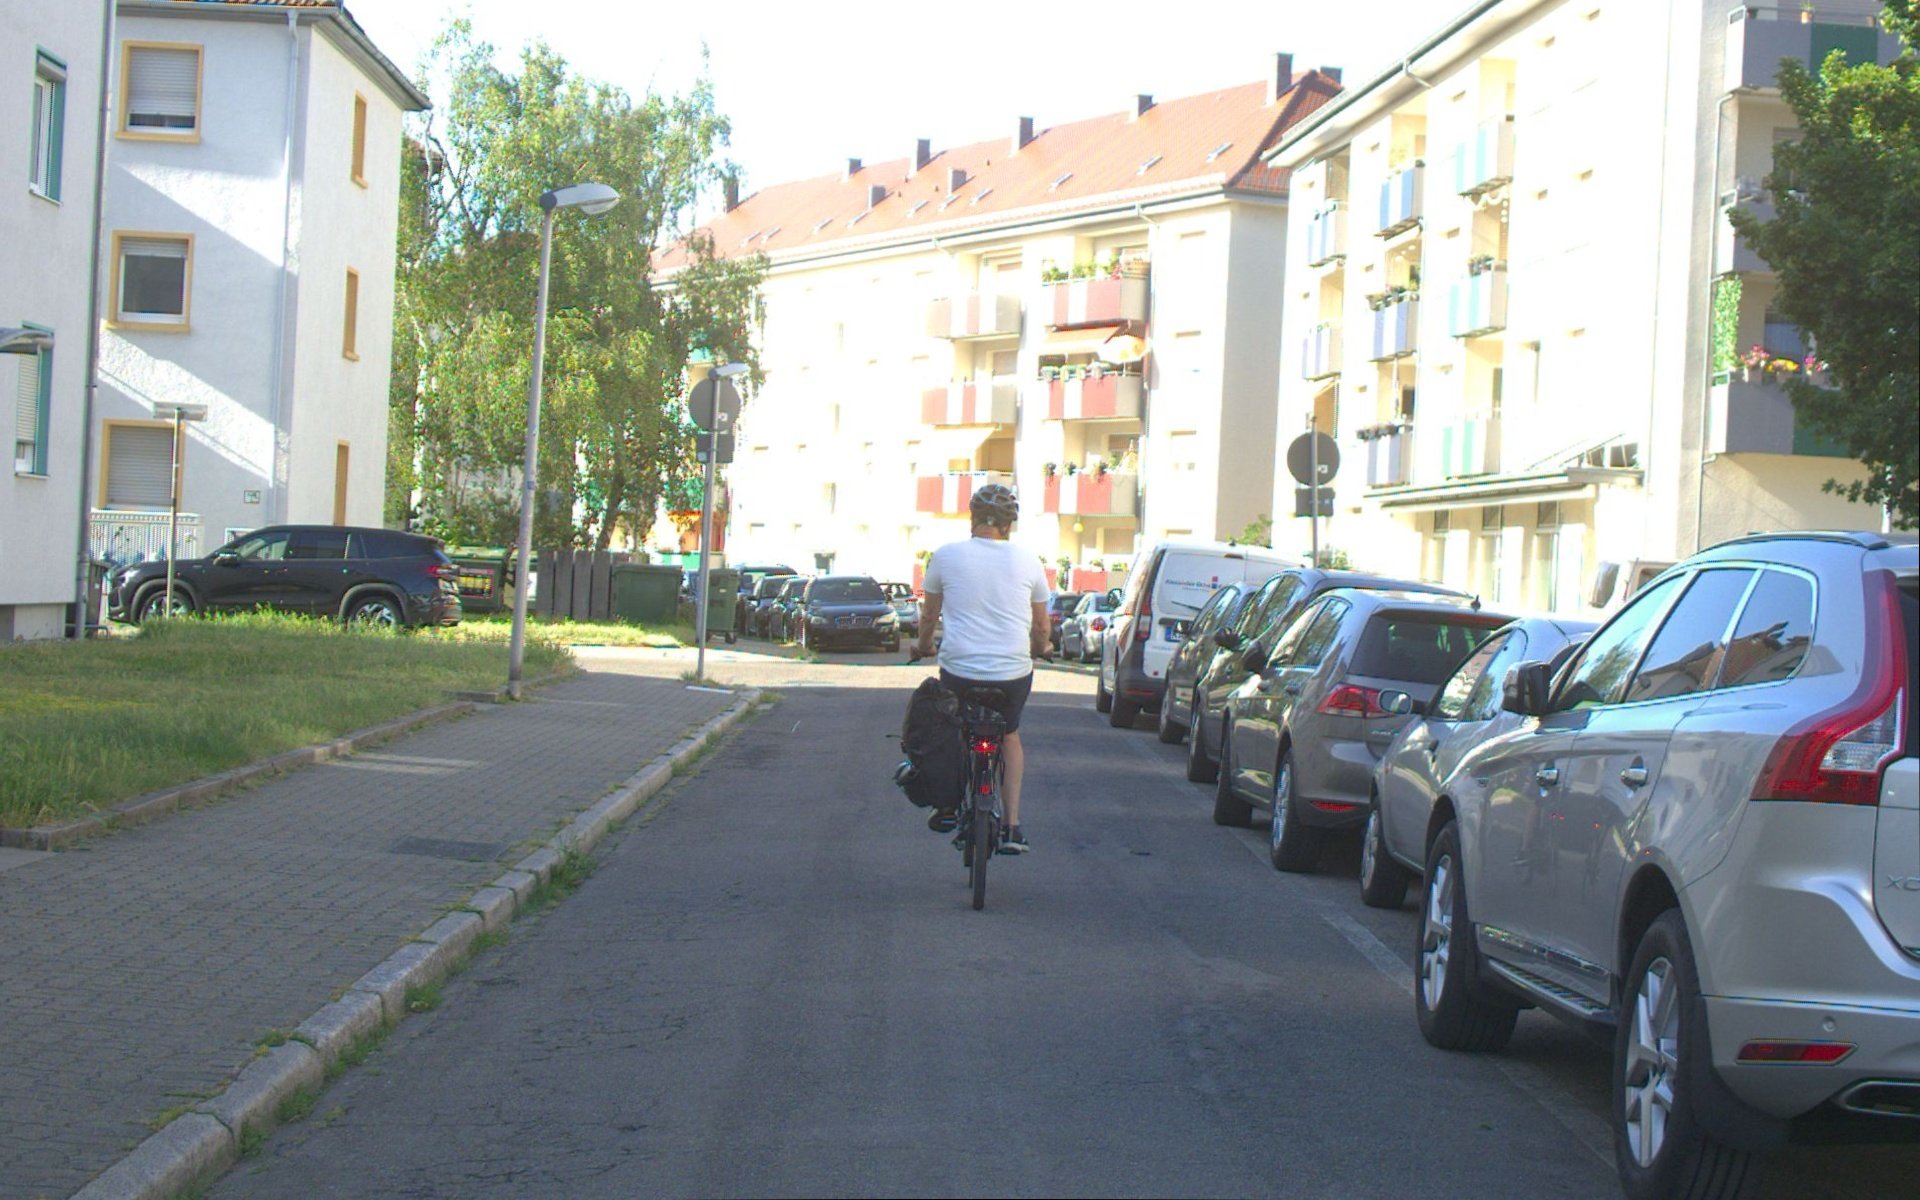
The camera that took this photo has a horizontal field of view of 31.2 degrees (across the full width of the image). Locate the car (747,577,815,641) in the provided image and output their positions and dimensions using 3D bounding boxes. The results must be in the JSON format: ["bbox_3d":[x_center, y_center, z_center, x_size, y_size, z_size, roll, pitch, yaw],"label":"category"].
[{"bbox_3d":[-4.011,0.186,76.716,1.469,1.331,3.141,-1,1,-3],"label":"car"}]

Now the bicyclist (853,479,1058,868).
[{"bbox_3d":[-0.032,0.309,15.126,0.808,1.638,0.899,2,1,-3],"label":"bicyclist"}]

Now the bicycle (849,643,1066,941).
[{"bbox_3d":[-0.043,0.794,15.013,0.808,1.124,2.102,2,1,-3],"label":"bicycle"}]

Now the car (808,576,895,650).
[{"bbox_3d":[-2.091,0.236,65.702,1.469,1.331,3.141,-1,1,-5],"label":"car"}]

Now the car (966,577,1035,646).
[{"bbox_3d":[0.957,0.249,82.253,1.381,1.492,3.077,4,1,-3],"label":"car"}]

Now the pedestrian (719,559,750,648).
[{"bbox_3d":[-4.054,0.053,61.848,0.434,1.569,0.543,3,1,-1],"label":"pedestrian"}]

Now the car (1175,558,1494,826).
[{"bbox_3d":[2.464,0.562,23.340,1.558,1.571,3.366,4,1,-3],"label":"car"}]

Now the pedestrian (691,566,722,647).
[{"bbox_3d":[-4.547,0.119,61.728,0.434,1.422,0.543,3,1,-1],"label":"pedestrian"}]

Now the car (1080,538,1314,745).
[{"bbox_3d":[2.187,0.339,32.679,1.674,1.733,3.943,4,1,-3],"label":"car"}]

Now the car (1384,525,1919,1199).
[{"bbox_3d":[2.390,0.697,9.151,1.700,1.665,4.380,4,1,-2],"label":"car"}]

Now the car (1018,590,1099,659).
[{"bbox_3d":[2.134,0.525,75.275,1.469,1.331,3.141,4,1,-3],"label":"car"}]

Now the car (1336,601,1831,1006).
[{"bbox_3d":[2.523,0.767,14.552,1.391,1.398,3.244,3,1,-1],"label":"car"}]

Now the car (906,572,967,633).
[{"bbox_3d":[-0.658,0.062,94.842,1.469,1.511,3.077,4,1,-3],"label":"car"}]

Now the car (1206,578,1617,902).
[{"bbox_3d":[2.300,0.659,18.407,1.559,1.406,3.934,4,1,-1],"label":"car"}]

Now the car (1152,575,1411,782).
[{"bbox_3d":[2.550,0.590,27.950,1.558,1.448,3.366,4,1,-3],"label":"car"}]

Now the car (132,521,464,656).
[{"bbox_3d":[-8.974,-0.169,46.867,4.231,1.633,1.583,2,1,-4],"label":"car"}]
